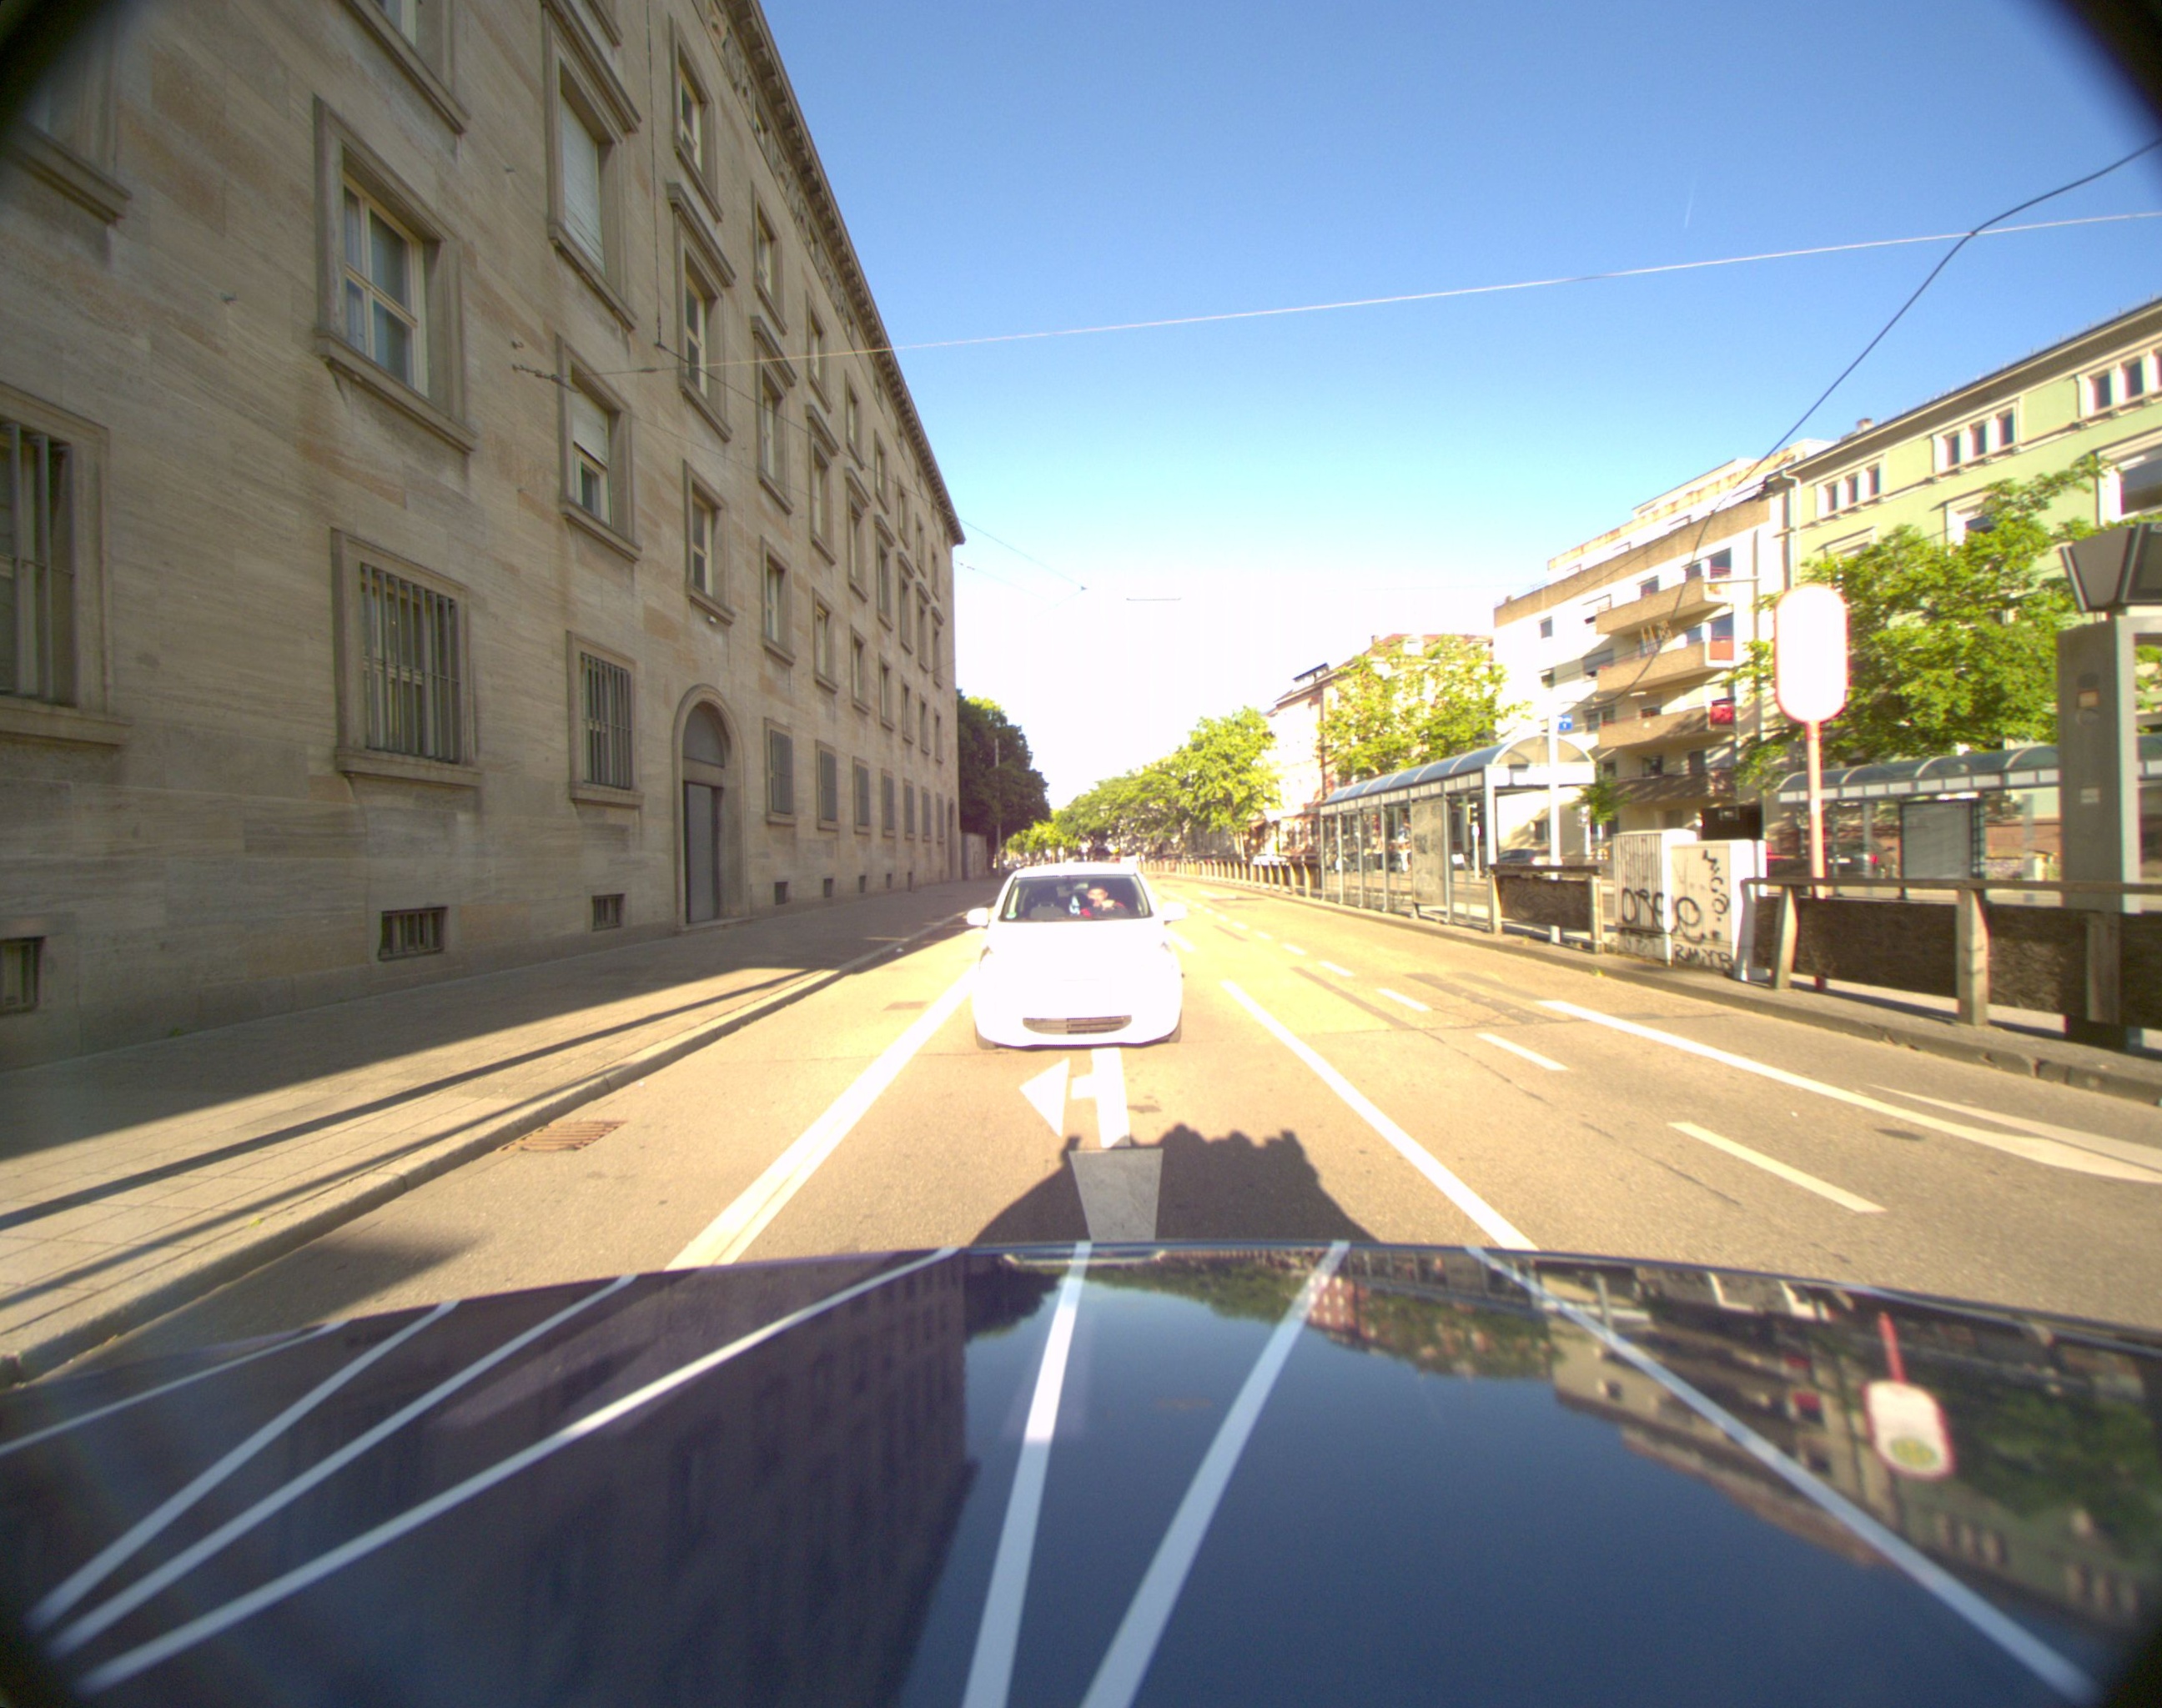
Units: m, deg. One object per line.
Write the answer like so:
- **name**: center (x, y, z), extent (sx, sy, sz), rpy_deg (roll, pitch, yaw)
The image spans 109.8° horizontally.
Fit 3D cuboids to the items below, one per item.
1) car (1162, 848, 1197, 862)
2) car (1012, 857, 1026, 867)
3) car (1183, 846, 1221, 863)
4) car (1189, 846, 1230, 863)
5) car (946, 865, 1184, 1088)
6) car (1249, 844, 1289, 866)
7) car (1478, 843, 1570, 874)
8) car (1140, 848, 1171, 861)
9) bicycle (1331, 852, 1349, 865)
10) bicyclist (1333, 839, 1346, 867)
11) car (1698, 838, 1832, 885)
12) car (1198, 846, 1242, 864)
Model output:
- **car**: center (11.397, 0.118, 88.124), extent (3.864, 1.583, 2.001), rpy_deg (-1, 0, 5)
- **car**: center (-10.864, 1.397, 133.111), extent (2.000, 1.761, 3.996), rpy_deg (-1, 0, -9)
- **car**: center (13.120, 0.047, 82.565), extent (3.996, 1.674, 2.000), rpy_deg (-1, 0, 4)
- **car**: center (13.315, 0.071, 78.761), extent (3.996, 1.674, 2.000), rpy_deg (-1, 0, 4)
- **car**: center (-0.088, 0.874, 7.071), extent (1.612, 1.450, 3.668), rpy_deg (-1, 0, 1)
- **car**: center (16.275, 0.098, 65.713), extent (1.994, 1.713, 4.007), rpy_deg (-1, 2, 34)
- **car**: center (20.830, 0.207, 35.872), extent (1.615, 1.387, 3.516), rpy_deg (-1, 0, -19)
- **car**: center (9.520, 0.120, 97.749), extent (3.864, 1.583, 2.001), rpy_deg (-1, 0, 4)
- **bicycle**: center (16.638, 0.283, 48.881), extent (0.536, 0.782, 1.853), rpy_deg (-1, -1, 1)
- **bicyclist**: center (16.630, -0.054, 48.863), extent (0.536, 1.750, 0.771), rpy_deg (-1, 0, 1)
- **car**: center (23.923, 0.240, 26.589), extent (3.796, 1.526, 1.772), rpy_deg (-1, 0, -17)
- **car**: center (13.603, 0.082, 74.627), extent (3.996, 1.674, 2.000), rpy_deg (-1, 0, 4)
